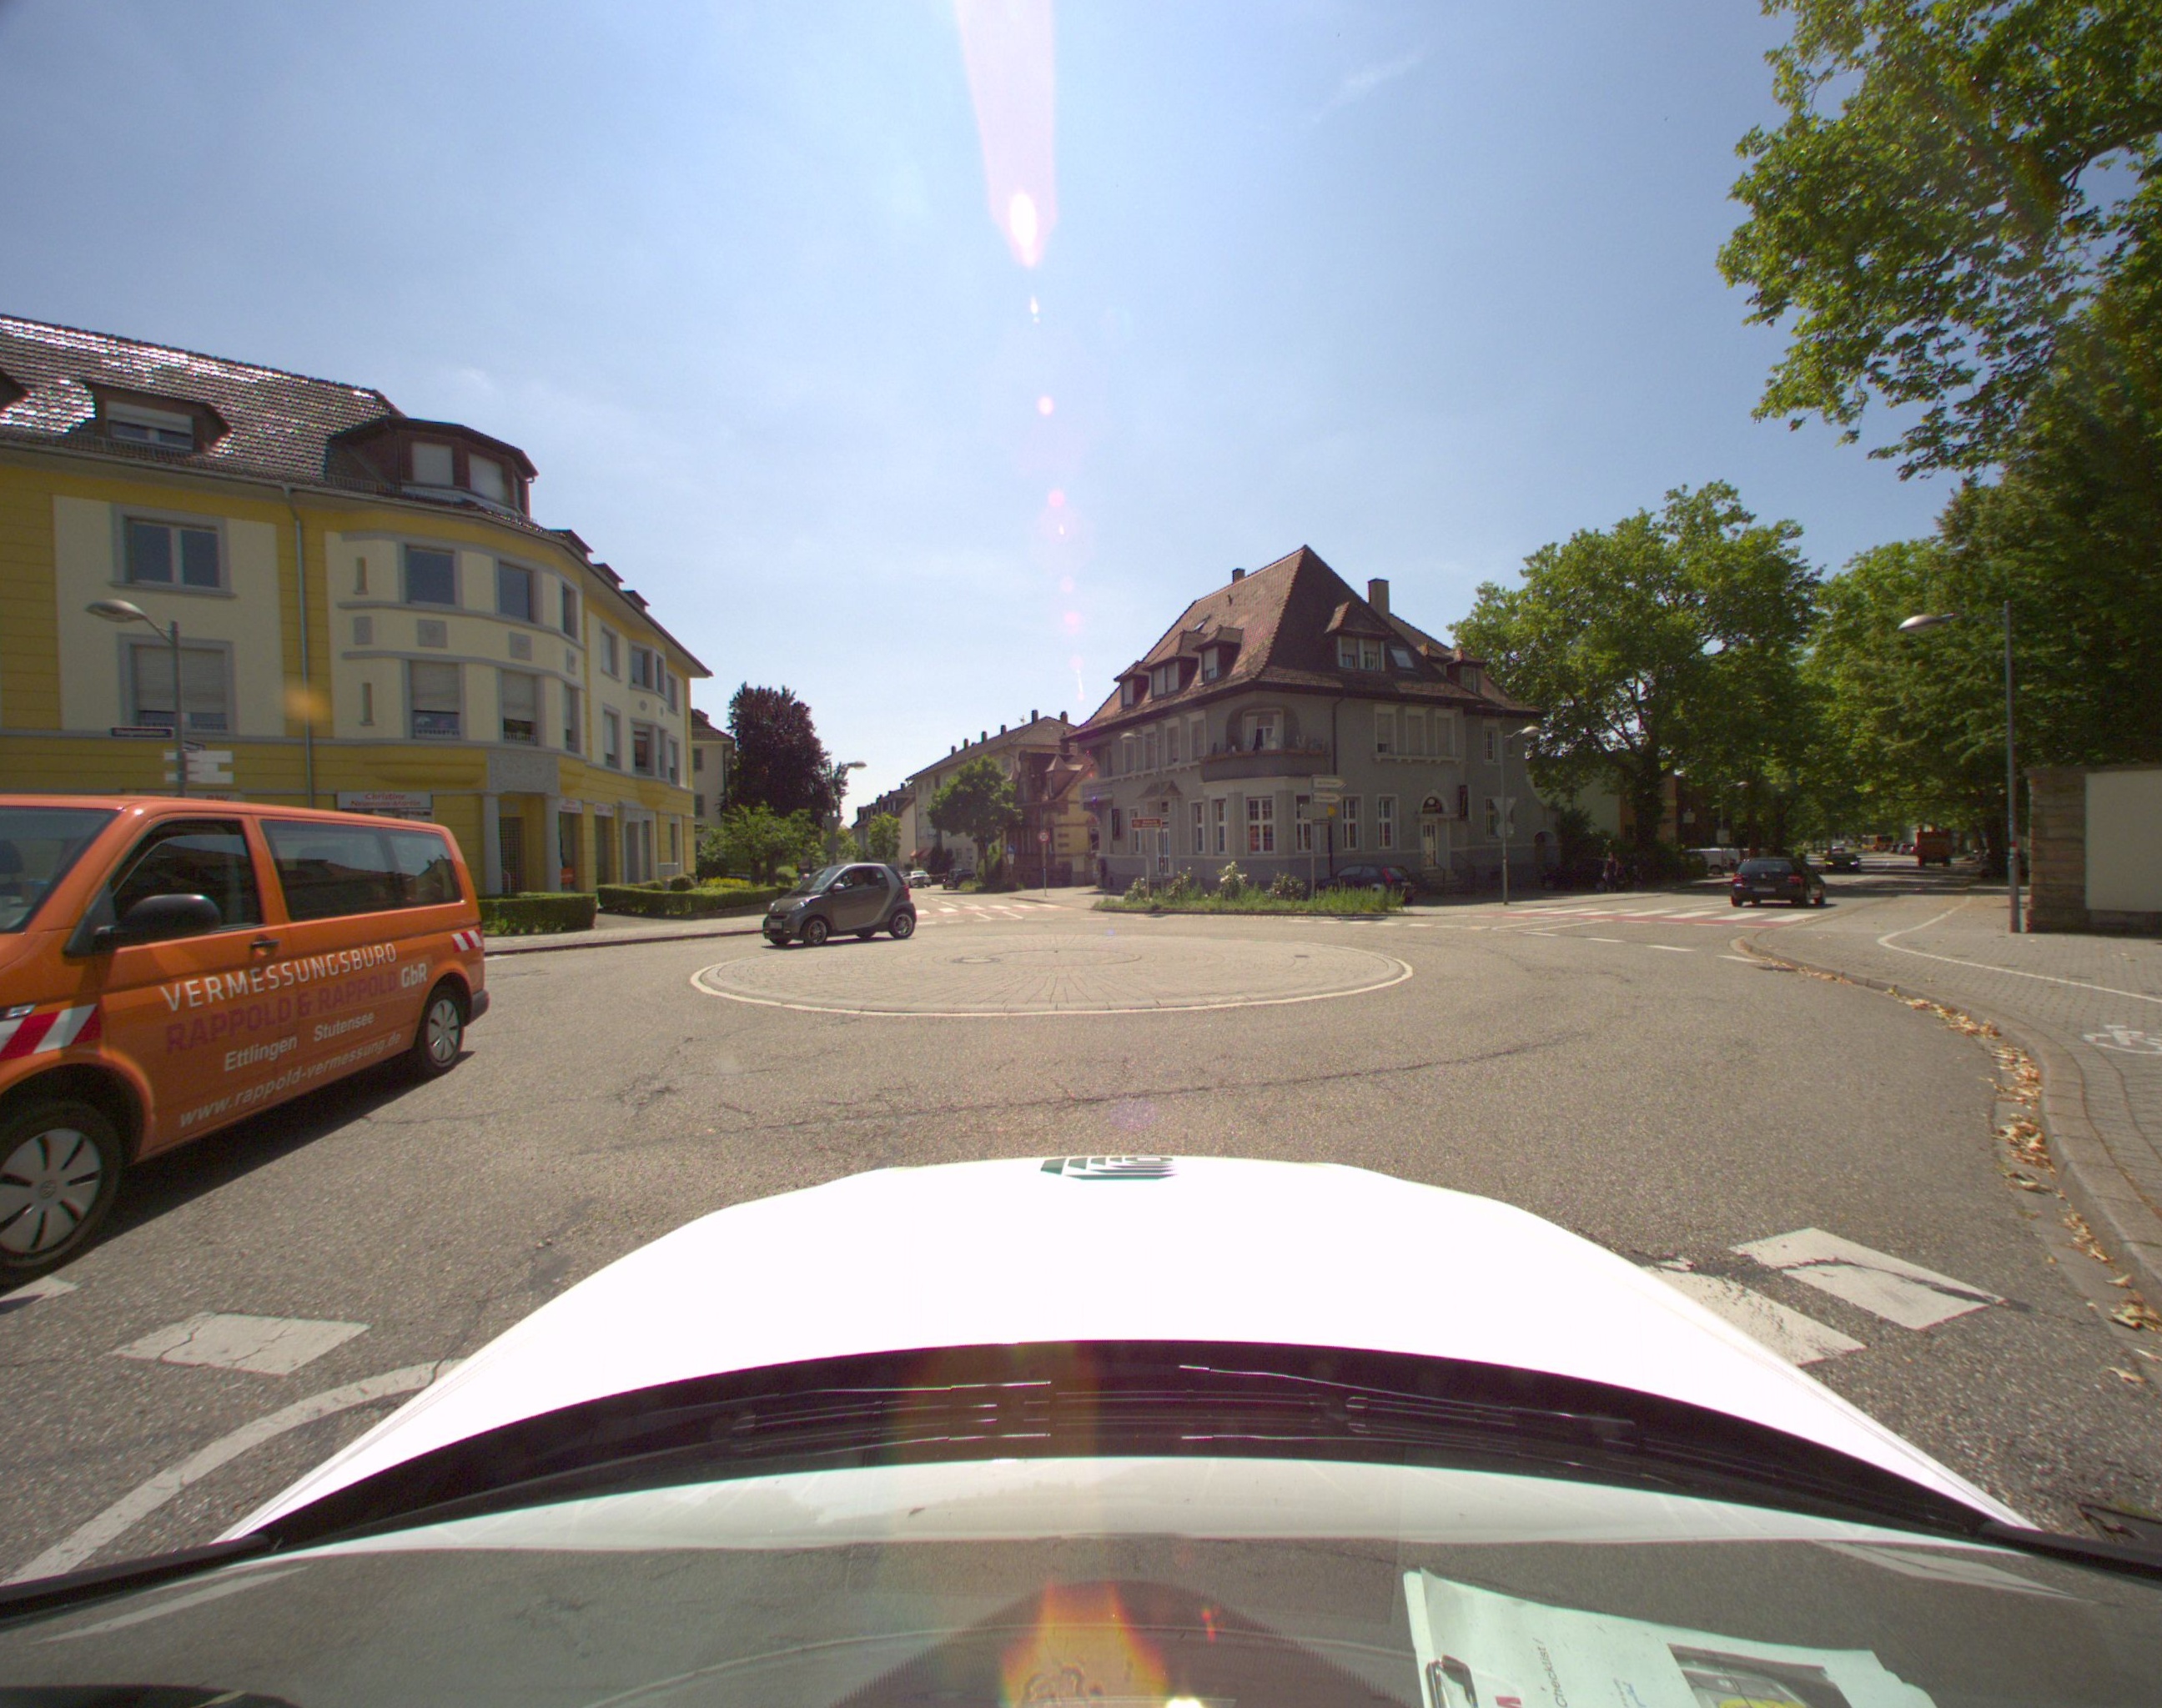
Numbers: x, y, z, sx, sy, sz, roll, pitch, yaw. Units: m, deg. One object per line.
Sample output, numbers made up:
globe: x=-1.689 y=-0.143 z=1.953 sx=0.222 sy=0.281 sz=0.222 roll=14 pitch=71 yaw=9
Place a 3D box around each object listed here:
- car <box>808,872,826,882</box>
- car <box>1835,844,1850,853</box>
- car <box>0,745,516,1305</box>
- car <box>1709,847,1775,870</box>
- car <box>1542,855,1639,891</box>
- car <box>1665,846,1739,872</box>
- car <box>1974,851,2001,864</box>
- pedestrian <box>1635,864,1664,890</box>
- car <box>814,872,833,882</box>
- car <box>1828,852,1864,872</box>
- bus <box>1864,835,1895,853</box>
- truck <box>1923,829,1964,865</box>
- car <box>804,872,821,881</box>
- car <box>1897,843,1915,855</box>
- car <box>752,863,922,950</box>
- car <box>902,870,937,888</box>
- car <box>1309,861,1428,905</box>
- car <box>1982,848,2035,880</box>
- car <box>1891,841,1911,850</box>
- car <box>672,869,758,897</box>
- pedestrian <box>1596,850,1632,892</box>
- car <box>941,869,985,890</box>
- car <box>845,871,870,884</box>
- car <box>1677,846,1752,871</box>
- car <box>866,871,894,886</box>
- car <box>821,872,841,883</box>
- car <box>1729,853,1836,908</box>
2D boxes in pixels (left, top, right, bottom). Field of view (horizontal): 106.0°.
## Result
car: x=-40.848 y=3.514 z=125.938 sx=2.004 sy=1.509 sz=4.380 roll=0 pitch=-1 yaw=-27
car: x=143.738 y=-1.061 z=153.656 sx=1.975 sy=1.666 sz=4.024 roll=-1 pitch=-2 yaw=42
car: x=-5.228 y=0.653 z=4.407 sx=1.947 sy=1.959 sz=4.994 roll=-2 pitch=0 yaw=-15
car: x=55.708 y=0.340 z=68.640 sx=1.914 sy=1.804 sz=4.091 roll=0 pitch=1 yaw=-44
car: x=23.532 y=0.861 z=37.718 sx=1.729 sy=1.547 sz=3.359 roll=0 pitch=-1 yaw=-31
car: x=44.422 y=0.302 z=58.297 sx=1.879 sy=1.792 sz=3.951 roll=0 pitch=1 yaw=-44
car: x=101.413 y=0.380 z=91.140 sx=1.750 sy=1.374 sz=3.752 roll=-3 pitch=-2 yaw=44
pedestrian: x=25.354 y=1.034 z=36.314 sx=0.900 sy=1.122 sz=0.749 roll=0 pitch=-1 yaw=-32
car: x=-38.253 y=3.387 z=120.695 sx=2.004 sy=1.509 sz=4.380 roll=0 pitch=-1 yaw=-27
car: x=56.795 y=0.589 z=60.471 sx=4.418 sy=1.426 sz=1.752 roll=0 pitch=-1 yaw=-45
bus: x=152.930 y=-1.820 z=156.058 sx=2.637 sy=3.151 sz=11.268 roll=-2 pitch=-1 yaw=36
truck: x=79.089 y=-0.570 z=74.645 sx=5.799 sy=3.134 sz=2.350 roll=1 pitch=-2 yaw=-42
car: x=-43.076 y=3.588 z=130.706 sx=2.004 sy=1.488 sz=3.965 roll=1 pitch=-2 yaw=-26
car: x=130.180 y=-0.786 z=128.508 sx=1.862 sy=1.686 sz=4.023 roll=-1 pitch=-2 yaw=44
car: x=-4.759 y=0.957 z=16.054 sx=1.550 sy=1.530 sz=2.805 roll=-2 pitch=-1 yaw=45
car: x=-14.676 y=2.252 z=73.636 sx=2.004 sy=1.509 sz=4.380 roll=0 pitch=-1 yaw=-27
car: x=10.191 y=1.012 z=29.136 sx=1.729 sy=1.460 sz=3.755 roll=0 pitch=-1 yaw=-31
car: x=50.580 y=0.517 z=44.372 sx=4.804 sy=1.557 sz=1.726 roll=-1 pitch=-2 yaw=-40
car: x=138.006 y=-1.410 z=137.090 sx=1.749 sy=1.374 sz=3.753 roll=-3 pitch=-2 yaw=36
car: x=-21.804 y=1.709 z=48.577 sx=4.435 sy=1.509 sz=1.979 roll=-1 pitch=-1 yaw=-33
pedestrian: x=22.590 y=0.730 z=34.522 sx=1.117 sy=1.742 sz=0.865 roll=0 pitch=-1 yaw=-35
car: x=-9.157 y=1.940 z=62.888 sx=2.004 sy=1.509 sz=4.380 roll=0 pitch=-1 yaw=-27
car: x=-26.719 y=2.820 z=97.338 sx=2.004 sy=1.509 sz=4.380 roll=0 pitch=-1 yaw=-27
car: x=49.254 y=0.309 z=63.412 sx=1.914 sy=1.804 sz=4.384 roll=0 pitch=1 yaw=-44
car: x=-21.574 y=2.585 z=87.326 sx=2.004 sy=1.509 sz=4.380 roll=0 pitch=-1 yaw=-27
car: x=-35.499 y=3.331 z=115.557 sx=2.004 sy=1.509 sz=4.380 roll=0 pitch=-1 yaw=-27
car: x=20.716 y=0.730 z=24.007 sx=4.078 sy=1.447 sz=1.696 roll=-1 pitch=-1 yaw=-40
